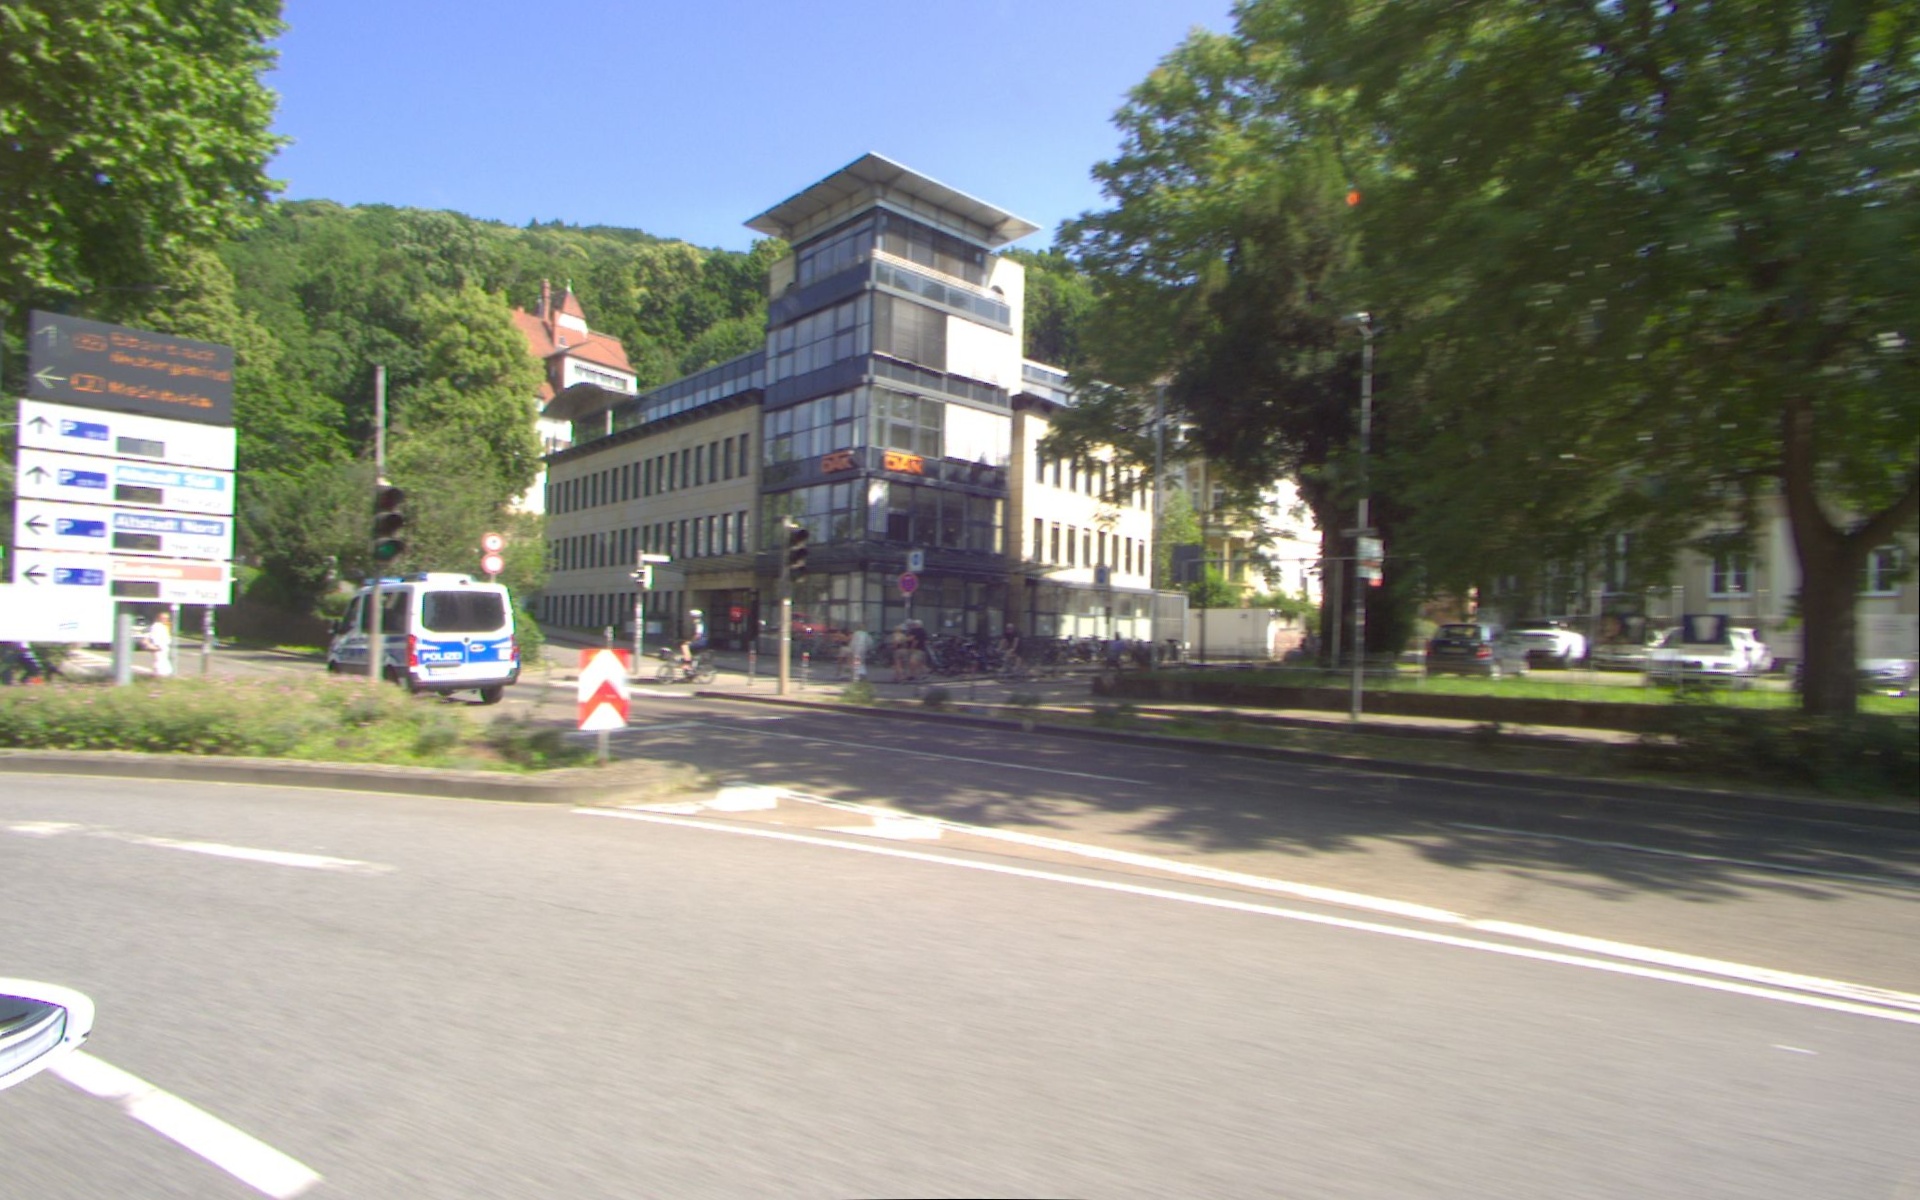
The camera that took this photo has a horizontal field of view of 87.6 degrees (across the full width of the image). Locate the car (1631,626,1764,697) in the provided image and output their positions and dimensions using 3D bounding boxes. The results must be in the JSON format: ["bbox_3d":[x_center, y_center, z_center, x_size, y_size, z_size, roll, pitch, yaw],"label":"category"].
[{"bbox_3d":[15.860,1.279,21.439,1.802,1.353,4.443,0,-2,43],"label":"car"}]

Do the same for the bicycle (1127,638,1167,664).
[{"bbox_3d":[8.292,2.242,44.478,0.533,1.099,1.818,2,-2,-42],"label":"bicycle"}]

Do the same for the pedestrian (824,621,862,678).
[{"bbox_3d":[-3.534,1.489,30.177,0.765,1.684,0.823,3,-2,-38],"label":"pedestrian"}]

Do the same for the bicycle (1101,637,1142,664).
[{"bbox_3d":[6.986,2.182,43.320,0.533,1.099,1.818,2,-2,-42],"label":"bicycle"}]

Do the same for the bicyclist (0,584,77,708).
[{"bbox_3d":[-15.187,0.748,16.188,1.110,1.957,0.747,2,-2,-19],"label":"bicyclist"}]

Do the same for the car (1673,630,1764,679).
[{"bbox_3d":[23.071,1.641,30.407,1.802,1.353,4.055,0,-2,43],"label":"car"}]

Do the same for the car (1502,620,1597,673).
[{"bbox_3d":[19.405,1.511,32.899,1.802,1.624,4.285,0,-2,43],"label":"car"}]

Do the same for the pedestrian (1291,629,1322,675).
[{"bbox_3d":[11.972,1.800,34.601,0.660,1.566,0.763,2,-1,-43],"label":"pedestrian"}]

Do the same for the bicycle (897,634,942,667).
[{"bbox_3d":[-1.429,1.780,35.342,0.533,1.099,1.818,2,-2,-42],"label":"bicycle"}]

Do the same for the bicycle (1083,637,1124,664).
[{"bbox_3d":[6.078,2.140,42.487,0.533,1.099,1.818,2,-2,-42],"label":"bicycle"}]

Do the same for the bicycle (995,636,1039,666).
[{"bbox_3d":[2.182,1.948,38.638,0.533,1.099,1.818,2,-2,-42],"label":"bicycle"}]

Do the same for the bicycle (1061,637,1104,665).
[{"bbox_3d":[5.001,2.071,41.004,0.533,1.099,1.818,2,-2,-42],"label":"bicycle"}]

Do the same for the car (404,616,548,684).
[{"bbox_3d":[-12.576,1.260,25.919,4.220,1.560,1.713,0,-3,40],"label":"car"}]

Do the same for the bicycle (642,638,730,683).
[{"bbox_3d":[-7.106,1.585,26.030,2.056,1.126,0.752,3,-2,-33],"label":"bicycle"}]

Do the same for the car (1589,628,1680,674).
[{"bbox_3d":[21.453,1.614,31.799,1.802,1.353,4.020,0,-2,43],"label":"car"}]

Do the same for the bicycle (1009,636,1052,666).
[{"bbox_3d":[2.733,1.964,38.895,0.533,1.099,1.818,2,-2,-42],"label":"bicycle"}]

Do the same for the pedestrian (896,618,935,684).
[{"bbox_3d":[-1.285,1.469,29.044,0.765,1.878,0.823,3,-2,-38],"label":"pedestrian"}]

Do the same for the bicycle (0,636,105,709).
[{"bbox_3d":[-15.267,1.162,16.159,2.048,1.126,0.755,2,-2,-20],"label":"bicycle"}]

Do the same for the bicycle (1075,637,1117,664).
[{"bbox_3d":[5.689,2.118,42.030,0.533,1.099,1.818,2,-2,-42],"label":"bicycle"}]

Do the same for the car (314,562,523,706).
[{"bbox_3d":[-10.951,0.685,20.111,4.873,2.540,2.064,-1,-3,41],"label":"car"}]

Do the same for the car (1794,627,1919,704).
[{"bbox_3d":[17.790,1.257,19.780,1.802,1.353,4.064,0,-2,43],"label":"car"}]

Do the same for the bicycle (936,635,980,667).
[{"bbox_3d":[-0.091,1.841,36.526,0.533,1.099,1.818,2,-2,-42],"label":"bicycle"}]

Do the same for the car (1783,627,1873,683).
[{"bbox_3d":[24.683,1.544,28.431,1.802,1.437,4.028,0,-2,43],"label":"car"}]

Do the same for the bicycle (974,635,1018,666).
[{"bbox_3d":[1.336,1.905,37.756,0.533,1.099,1.818,2,-2,-42],"label":"bicycle"}]

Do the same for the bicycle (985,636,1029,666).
[{"bbox_3d":[1.794,1.927,38.208,0.533,1.099,1.818,2,-2,-42],"label":"bicycle"}]

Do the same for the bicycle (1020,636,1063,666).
[{"bbox_3d":[3.195,1.987,39.341,0.533,1.099,1.818,2,-2,-42],"label":"bicycle"}]

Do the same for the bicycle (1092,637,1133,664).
[{"bbox_3d":[6.532,2.161,42.901,0.533,1.099,1.818,2,-2,-42],"label":"bicycle"}]

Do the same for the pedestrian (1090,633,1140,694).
[{"bbox_3d":[4.153,1.685,26.849,1.108,1.601,0.737,2,-2,-32],"label":"pedestrian"}]

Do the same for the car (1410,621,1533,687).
[{"bbox_3d":[12.926,1.331,25.182,1.856,1.494,4.125,0,-2,41],"label":"car"}]

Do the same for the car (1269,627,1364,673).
[{"bbox_3d":[13.744,1.904,38.455,4.094,1.667,1.816,3,-2,-44],"label":"car"}]

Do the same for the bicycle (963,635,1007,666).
[{"bbox_3d":[0.917,1.884,37.334,0.533,1.099,1.818,2,-2,-42],"label":"bicycle"}]

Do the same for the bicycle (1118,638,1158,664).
[{"bbox_3d":[7.830,2.222,44.097,0.533,1.099,1.818,2,-2,-42],"label":"bicycle"}]

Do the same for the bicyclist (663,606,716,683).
[{"bbox_3d":[-7.044,1.162,26.070,1.114,1.957,0.744,2,-2,-32],"label":"bicyclist"}]

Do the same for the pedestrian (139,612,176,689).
[{"bbox_3d":[-17.444,1.084,21.778,0.542,1.642,0.630,2,-1,-35],"label":"pedestrian"}]

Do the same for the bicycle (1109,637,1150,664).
[{"bbox_3d":[7.407,2.203,43.720,0.533,1.099,1.818,2,-2,-42],"label":"bicycle"}]

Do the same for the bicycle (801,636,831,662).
[{"bbox_3d":[-5.322,1.806,37.031,0.402,0.953,1.328,2,-1,-43],"label":"bicycle"}]

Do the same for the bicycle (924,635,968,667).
[{"bbox_3d":[-0.519,1.820,36.118,0.533,1.099,1.818,2,-2,-42],"label":"bicycle"}]

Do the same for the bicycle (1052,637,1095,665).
[{"bbox_3d":[4.600,2.049,40.557,0.533,1.099,1.818,2,-2,-42],"label":"bicycle"}]

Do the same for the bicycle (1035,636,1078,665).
[{"bbox_3d":[3.807,2.006,39.662,0.533,1.099,1.818,2,-2,-42],"label":"bicycle"}]

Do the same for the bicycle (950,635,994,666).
[{"bbox_3d":[0.432,1.860,36.866,0.533,1.099,1.818,2,-2,-42],"label":"bicycle"}]

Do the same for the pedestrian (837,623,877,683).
[{"bbox_3d":[-2.988,1.540,29.101,0.766,1.684,0.821,3,-2,-43],"label":"pedestrian"}]

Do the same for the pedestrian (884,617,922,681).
[{"bbox_3d":[-1.684,1.445,29.590,0.765,1.878,0.823,3,-2,-38],"label":"pedestrian"}]

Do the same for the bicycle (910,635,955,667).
[{"bbox_3d":[-0.992,1.798,35.687,0.533,1.099,1.818,2,-2,-42],"label":"bicycle"}]

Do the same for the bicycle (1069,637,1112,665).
[{"bbox_3d":[5.394,2.094,41.479,0.533,1.099,1.818,2,-2,-42],"label":"bicycle"}]

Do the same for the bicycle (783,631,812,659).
[{"bbox_3d":[-6.242,1.731,38.343,0.402,1.025,1.328,2,-1,-43],"label":"bicycle"}]

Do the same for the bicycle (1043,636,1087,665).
[{"bbox_3d":[4.196,2.028,40.126,0.533,1.099,1.818,2,-2,-42],"label":"bicycle"}]

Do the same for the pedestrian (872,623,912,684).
[{"bbox_3d":[-1.950,1.525,28.638,0.765,1.684,0.822,3,-2,-39],"label":"pedestrian"}]
